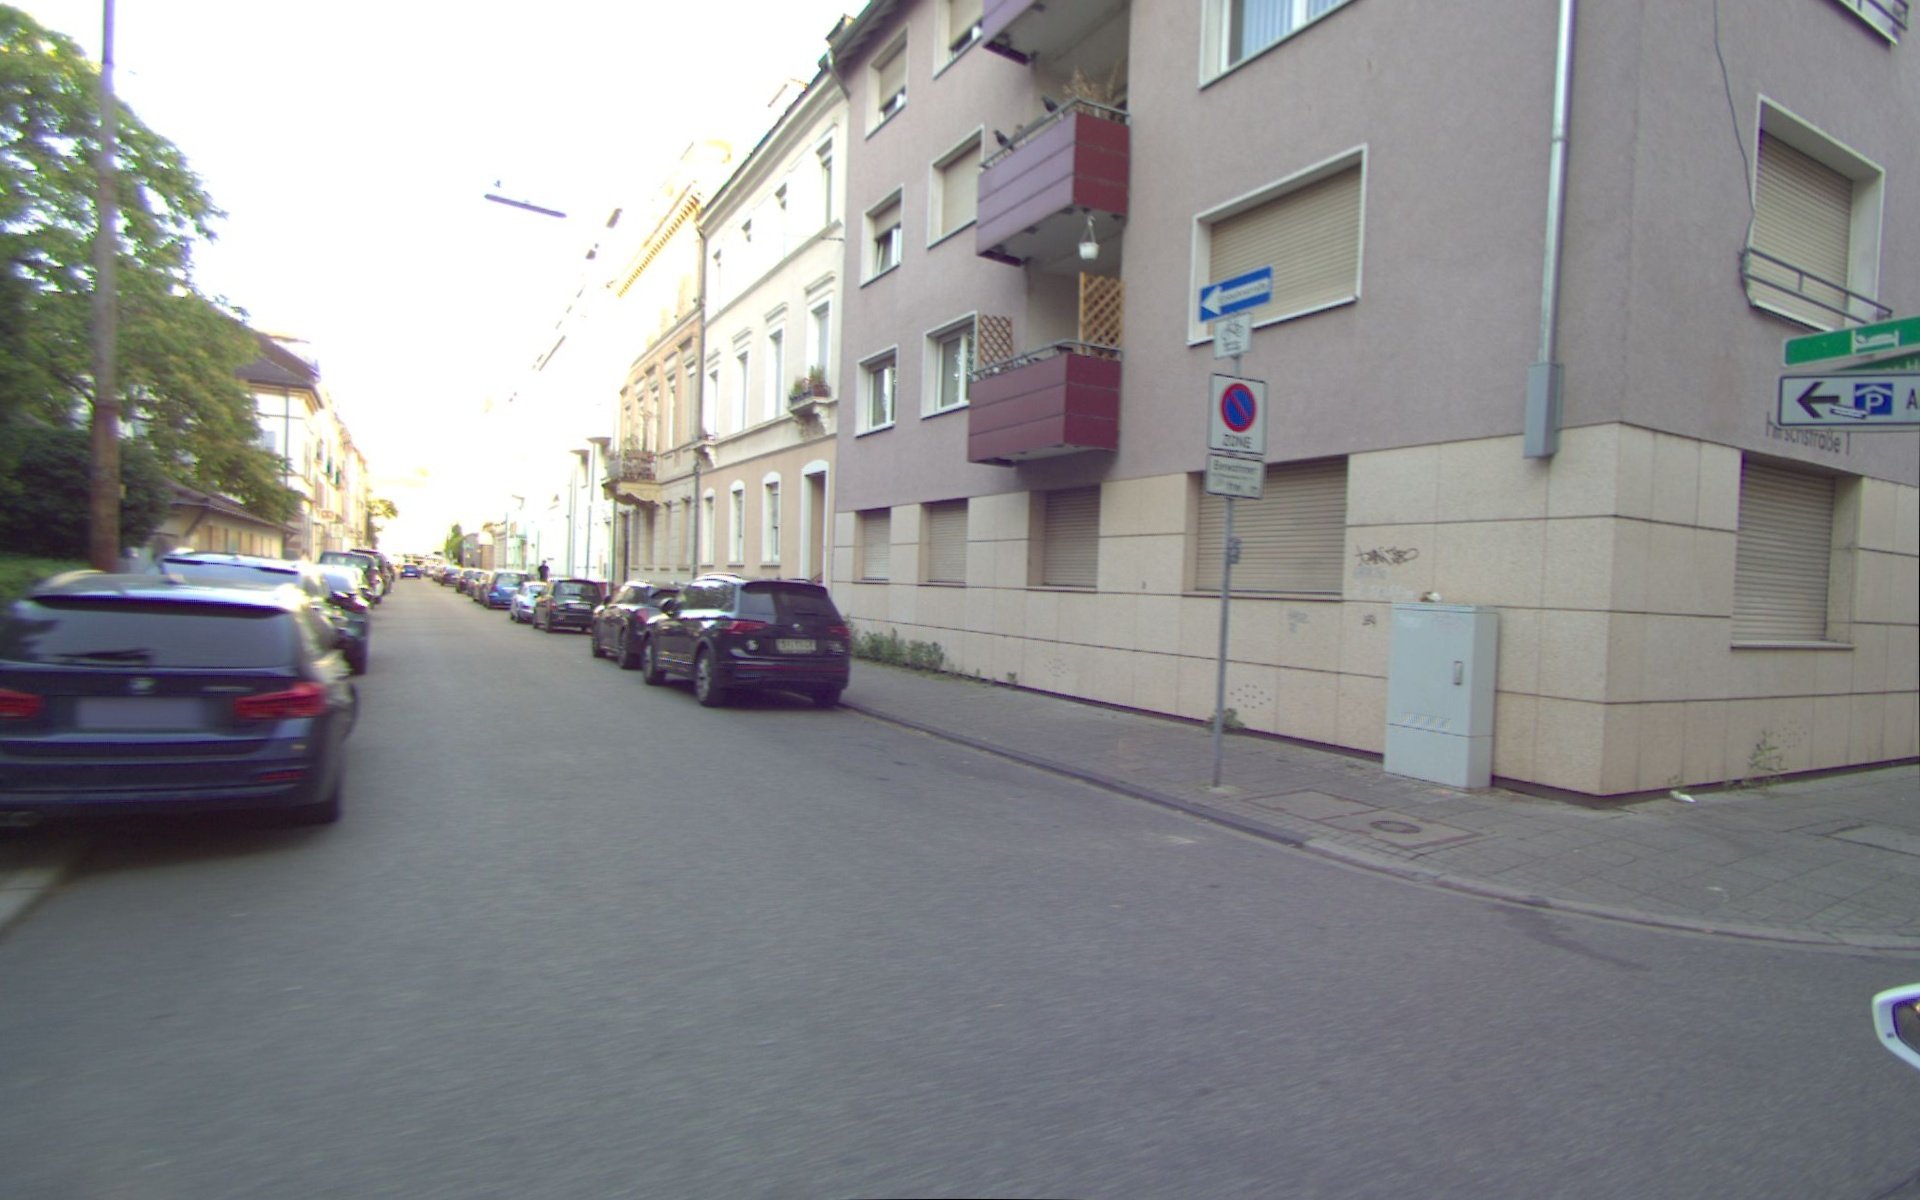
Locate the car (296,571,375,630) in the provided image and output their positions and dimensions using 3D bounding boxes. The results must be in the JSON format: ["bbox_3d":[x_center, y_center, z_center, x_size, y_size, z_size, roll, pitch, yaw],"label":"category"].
[{"bbox_3d":[-17.843,-0.021,28.845,1.693,1.476,3.942,4,-1,-30],"label":"car"}]

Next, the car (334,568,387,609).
[{"bbox_3d":[-24.551,-0.494,41.208,1.693,1.476,3.942,4,-1,-30],"label":"car"}]

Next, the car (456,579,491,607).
[{"bbox_3d":[-28.522,-0.410,58.869,1.543,1.460,3.346,4,-1,-30],"label":"car"}]

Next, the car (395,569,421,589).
[{"bbox_3d":[-54.102,-2.050,98.397,1.978,1.803,3.965,2,0,-32],"label":"car"}]

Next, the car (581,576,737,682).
[{"bbox_3d":[-5.621,0.470,18.444,1.800,1.656,3.942,4,-1,-30],"label":"car"}]

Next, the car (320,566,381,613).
[{"bbox_3d":[-21.713,-0.377,35.898,1.693,1.476,3.942,4,-1,-30],"label":"car"}]

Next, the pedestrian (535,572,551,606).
[{"bbox_3d":[-21.946,-0.579,52.857,0.602,1.728,0.565,1,2,-33],"label":"pedestrian"}]

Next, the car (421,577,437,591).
[{"bbox_3d":[-63.750,-1.915,120.529,1.543,1.460,3.346,4,-1,-30],"label":"car"}]

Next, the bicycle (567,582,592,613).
[{"bbox_3d":[-17.021,-0.118,44.894,0.653,1.304,2.413,2,1,-29],"label":"bicycle"}]

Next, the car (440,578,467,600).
[{"bbox_3d":[-37.559,-0.847,74.418,1.543,1.460,3.346,4,-1,-30],"label":"car"}]

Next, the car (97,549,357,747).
[{"bbox_3d":[-7.736,0.409,10.991,1.706,1.727,4.095,2,0,-29],"label":"car"}]

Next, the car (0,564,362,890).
[{"bbox_3d":[-5.075,0.565,6.796,1.708,1.501,4.348,3,0,-31],"label":"car"}]

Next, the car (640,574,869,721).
[{"bbox_3d":[-2.930,0.551,13.621,1.800,1.656,3.942,4,-1,-30],"label":"car"}]

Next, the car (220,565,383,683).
[{"bbox_3d":[-10.159,0.309,15.770,1.808,1.597,3.968,2,0,-29],"label":"car"}]

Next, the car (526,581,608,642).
[{"bbox_3d":[-10.886,0.286,27.732,1.543,1.460,3.346,4,-1,-30],"label":"car"}]

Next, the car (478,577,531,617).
[{"bbox_3d":[-18.418,-0.146,40.554,1.543,1.460,3.346,4,-1,-30],"label":"car"}]

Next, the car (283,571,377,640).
[{"bbox_3d":[-15.294,0.098,24.555,1.693,1.476,3.942,4,-1,-30],"label":"car"}]

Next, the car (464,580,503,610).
[{"bbox_3d":[-25.395,-0.292,53.512,1.543,1.460,3.346,4,-1,-30],"label":"car"}]

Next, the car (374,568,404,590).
[{"bbox_3d":[-47.401,-1.727,83.379,1.978,1.720,3.965,2,1,-32],"label":"car"}]

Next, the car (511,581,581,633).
[{"bbox_3d":[-13.149,0.204,31.801,1.543,1.460,3.346,4,-1,-30],"label":"car"}]

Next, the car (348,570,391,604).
[{"bbox_3d":[-29.173,-0.657,49.703,1.693,1.476,3.942,4,-1,-30],"label":"car"}]

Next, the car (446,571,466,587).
[{"bbox_3d":[-51.309,-2.118,102.310,1.543,1.460,3.346,4,-1,-30],"label":"car"}]
